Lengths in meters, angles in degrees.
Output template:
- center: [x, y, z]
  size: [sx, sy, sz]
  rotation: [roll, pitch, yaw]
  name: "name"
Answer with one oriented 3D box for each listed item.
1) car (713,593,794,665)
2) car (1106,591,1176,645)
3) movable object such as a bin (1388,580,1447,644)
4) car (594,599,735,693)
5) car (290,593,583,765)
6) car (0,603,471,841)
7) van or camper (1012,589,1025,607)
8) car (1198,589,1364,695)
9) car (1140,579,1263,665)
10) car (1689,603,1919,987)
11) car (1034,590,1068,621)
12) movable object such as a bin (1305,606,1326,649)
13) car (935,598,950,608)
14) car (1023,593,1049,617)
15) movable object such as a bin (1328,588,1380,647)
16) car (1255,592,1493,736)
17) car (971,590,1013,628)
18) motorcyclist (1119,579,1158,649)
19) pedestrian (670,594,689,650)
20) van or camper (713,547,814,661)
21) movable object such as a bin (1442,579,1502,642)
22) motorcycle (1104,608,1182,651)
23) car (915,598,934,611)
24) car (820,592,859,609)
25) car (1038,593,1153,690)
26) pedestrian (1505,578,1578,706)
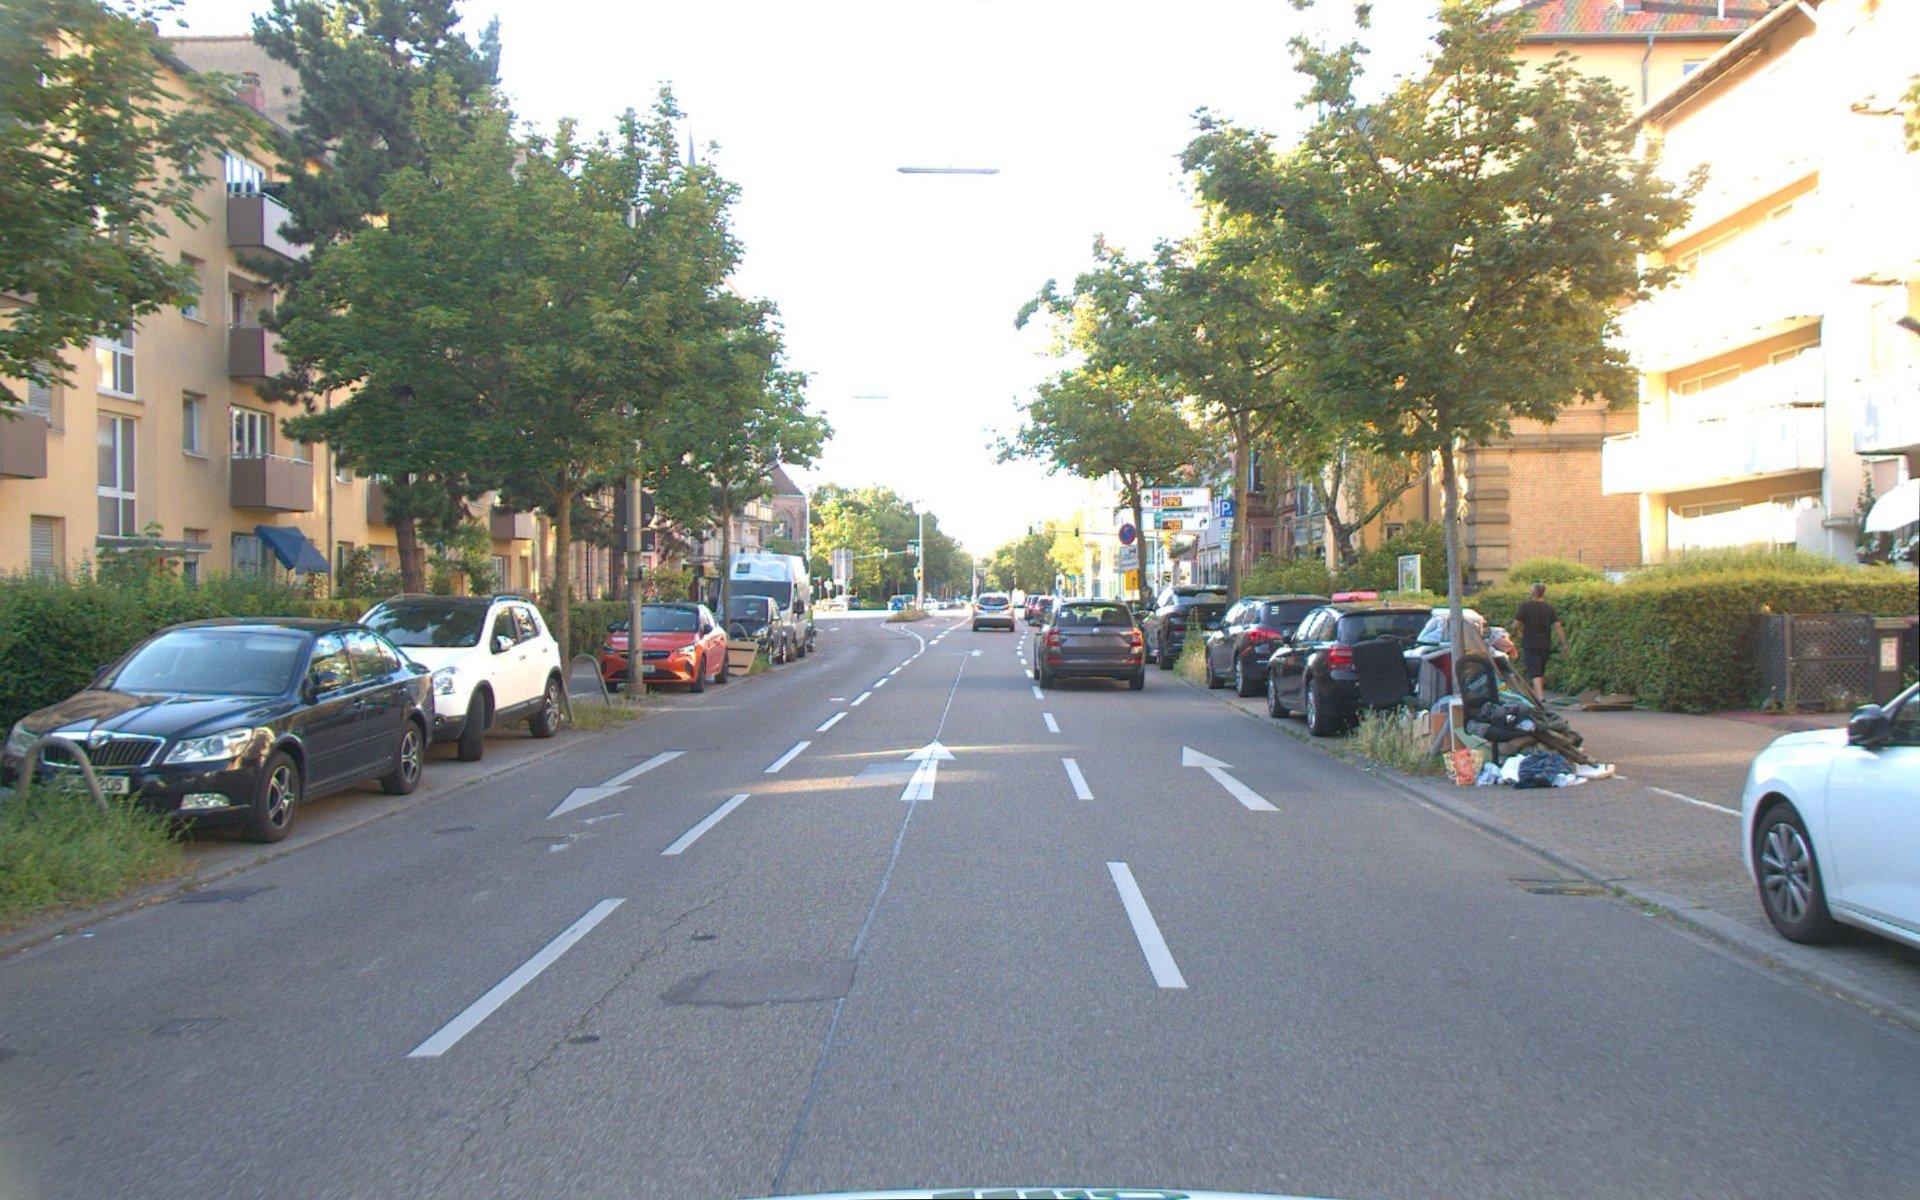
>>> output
- center: [-4.730, 0.643, 38.154]
  size: [1.374, 1.575, 2.762]
  rotation: [1, 0, 2]
  name: "car"
- center: [5.562, 0.530, 51.386]
  size: [1.817, 1.539, 4.836]
  rotation: [-2, 0, 3]
  name: "car"
- center: [11.676, 0.296, 42.196]
  size: [1.133, 1.583, 0.992]
  rotation: [-1, 0, -9]
  name: "movable object such as a bin"
- center: [-5.054, 0.737, 28.759]
  size: [1.681, 1.477, 3.923]
  rotation: [0, 1, 1]
  name: "car"
- center: [-5.445, 0.741, 17.784]
  size: [1.740, 1.616, 4.186]
  rotation: [0, 0, 1]
  name: "car"
- center: [-5.447, 0.785, 12.788]
  size: [1.952, 1.473, 4.458]
  rotation: [-1, 0, 0]
  name: "car"
- center: [8.922, -0.246, 251.748]
  size: [1.952, 2.686, 5.352]
  rotation: [-1, 0, 3]
  name: "van or camper"
- center: [4.992, 0.596, 26.314]
  size: [1.681, 1.498, 4.431]
  rotation: [-2, 0, -1]
  name: "car"
- center: [5.034, 0.431, 35.136]
  size: [1.908, 1.684, 4.796]
  rotation: [-1, 0, 0]
  name: "car"
- center: [4.519, 0.744, 6.166]
  size: [1.725, 1.426, 4.334]
  rotation: [-2, 0, 1]
  name: "car"
- center: [4.646, 0.265, 84.856]
  size: [1.616, 1.510, 4.240]
  rotation: [0, 0, 1]
  name: "car"
- center: [9.065, 0.690, 42.154]
  size: [0.483, 1.077, 0.548]
  rotation: [-1, 0, 13]
  name: "movable object such as a bin"
- center: [-2.220, 0.348, 213.042]
  size: [1.743, 1.257, 4.001]
  rotation: [-1, 0, 2]
  name: "car"
- center: [4.847, 0.305, 105.872]
  size: [1.552, 1.472, 3.648]
  rotation: [1, 0, 1]
  name: "car"
- center: [10.072, 0.435, 42.235]
  size: [1.226, 1.467, 0.995]
  rotation: [-1, 0, 15]
  name: "movable object such as a bin"
- center: [4.776, 0.665, 19.735]
  size: [1.734, 1.474, 4.485]
  rotation: [-2, 0, 1]
  name: "car"
- center: [1.324, 0.344, 68.459]
  size: [1.672, 1.536, 4.310]
  rotation: [0, 0, 1]
  name: "car"
- center: [4.706, 0.370, 43.556]
  size: [0.723, 1.809, 1.085]
  rotation: [0, -1, -10]
  name: "motorcyclist"
- center: [-8.648, 0.672, 50.998]
  size: [0.470, 1.681, 0.724]
  rotation: [-1, 0, -5]
  name: "pedestrian"
- center: [-5.012, 0.097, 42.993]
  size: [1.994, 2.710, 6.014]
  rotation: [1, 0, -2]
  name: "van or camper"
- center: [12.989, 0.259, 42.003]
  size: [1.133, 1.583, 0.992]
  rotation: [-1, 0, -9]
  name: "movable object such as a bin"
- center: [4.831, 0.775, 43.708]
  size: [1.891, 1.089, 0.818]
  rotation: [-1, 0, -11]
  name: "motorcycle"
- center: [-3.674, 0.462, 172.506]
  size: [1.743, 1.257, 4.001]
  rotation: [-1, 0, 2]
  name: "car"
- center: [-10.964, 0.035, 150.573]
  size: [3.265, 1.521, 1.627]
  rotation: [0, 0, 10]
  name: "car"
- center: [2.205, 0.630, 27.729]
  size: [1.672, 1.482, 4.159]
  rotation: [0, 0, 1]
  name: "car"
- center: [7.603, 0.536, 21.643]
  size: [0.731, 1.644, 0.579]
  rotation: [-1, 0, -1]
  name: "pedestrian"
